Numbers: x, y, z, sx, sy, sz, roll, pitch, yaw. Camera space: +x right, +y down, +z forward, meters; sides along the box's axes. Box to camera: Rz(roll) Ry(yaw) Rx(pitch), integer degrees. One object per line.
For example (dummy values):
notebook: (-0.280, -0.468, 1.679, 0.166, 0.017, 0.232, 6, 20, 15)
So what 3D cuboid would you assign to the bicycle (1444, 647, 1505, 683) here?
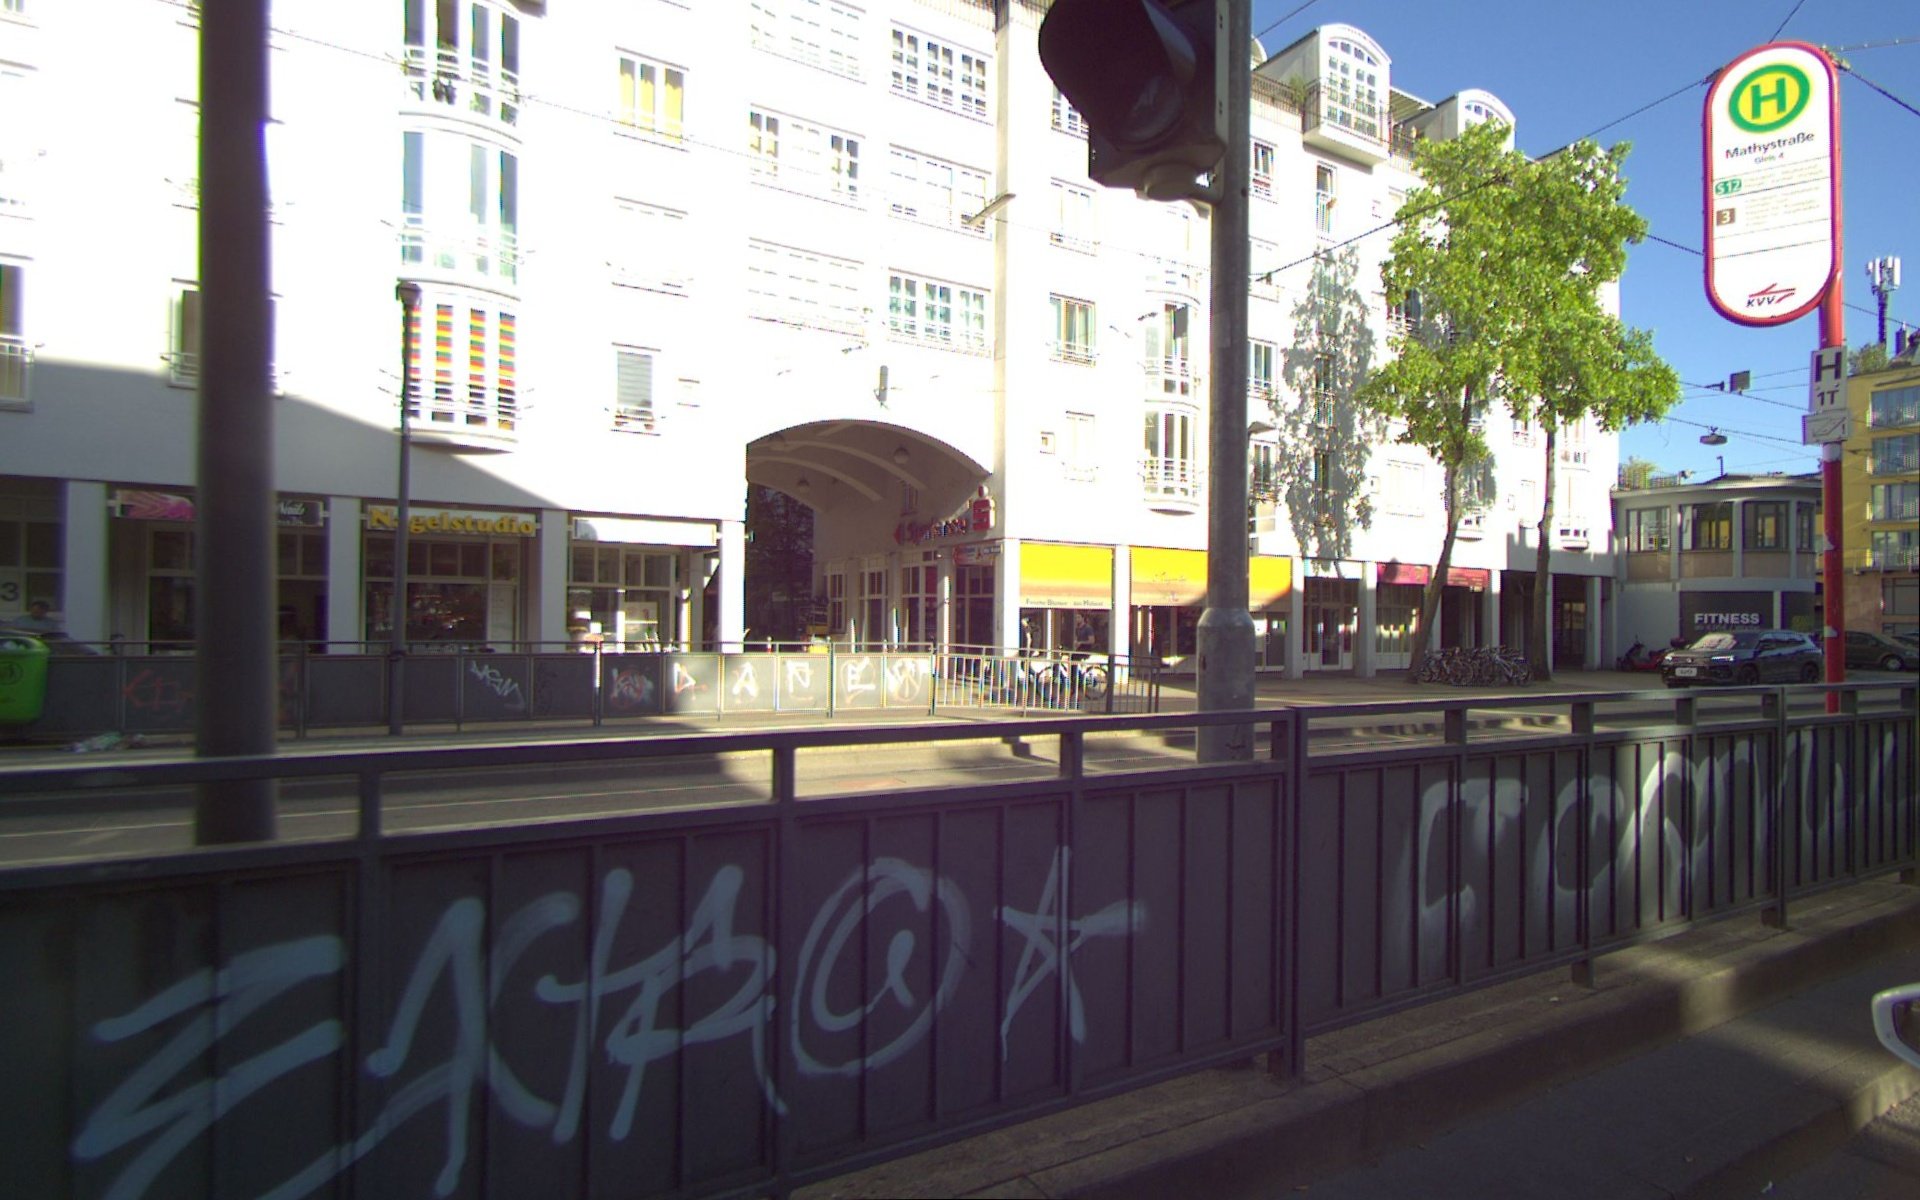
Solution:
bicycle: (14.264, 1.806, 27.841, 1.465, 0.953, 0.393, 0, -1, 6)

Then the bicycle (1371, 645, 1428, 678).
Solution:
bicycle: (12.876, 1.802, 29.441, 1.465, 0.953, 0.393, 0, -1, 6)

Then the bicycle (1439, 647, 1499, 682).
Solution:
bicycle: (14.307, 1.810, 28.275, 1.465, 0.953, 0.393, 0, -1, 6)

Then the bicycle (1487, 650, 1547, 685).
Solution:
bicycle: (15.867, 1.912, 28.610, 1.465, 0.953, 0.393, 0, -1, 6)

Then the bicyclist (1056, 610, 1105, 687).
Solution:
bicyclist: (2.529, 1.007, 21.040, 0.768, 1.578, 0.669, 1, -1, -29)

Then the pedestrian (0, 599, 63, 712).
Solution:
pedestrian: (-13.939, 0.818, 15.064, 0.591, 1.643, 0.837, 1, -1, -35)

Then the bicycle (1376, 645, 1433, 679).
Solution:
bicycle: (12.829, 1.790, 28.985, 1.465, 0.953, 0.393, 0, -1, 6)

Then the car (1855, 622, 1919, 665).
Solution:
car: (42.406, 1.919, 44.339, 1.937, 1.872, 3.964, 1, -1, -33)

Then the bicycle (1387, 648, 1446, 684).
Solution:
bicycle: (12.732, 1.833, 28.035, 1.465, 0.953, 0.393, 0, -1, 6)

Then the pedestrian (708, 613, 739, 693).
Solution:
pedestrian: (-5.052, 1.132, 21.457, 0.486, 1.686, 0.359, 2, 0, -29)

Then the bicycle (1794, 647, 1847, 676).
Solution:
bicycle: (32.748, 2.331, 38.214, 2.654, 1.015, 0.676, 1, -1, -30)

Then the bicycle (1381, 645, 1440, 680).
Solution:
bicycle: (12.789, 1.776, 28.531, 1.465, 0.953, 0.393, 0, -1, 6)

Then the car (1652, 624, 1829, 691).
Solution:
car: (20.483, 1.487, 26.323, 4.764, 1.636, 1.747, 1, -3, -26)

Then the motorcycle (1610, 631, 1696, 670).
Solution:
motorcycle: (24.986, 1.795, 36.261, 0.661, 1.305, 2.499, 1, -1, -32)

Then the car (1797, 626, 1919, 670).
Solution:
car: (37.995, 1.980, 42.218, 1.937, 1.697, 3.964, 1, -1, -33)

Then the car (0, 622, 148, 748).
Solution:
car: (-12.539, 0.986, 11.930, 4.231, 1.468, 1.744, 1, -1, -30)

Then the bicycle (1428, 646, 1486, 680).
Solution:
bicycle: (14.392, 1.823, 29.116, 1.465, 0.953, 0.393, 0, -1, 6)

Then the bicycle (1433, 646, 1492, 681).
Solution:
bicycle: (14.353, 1.808, 28.692, 1.465, 0.953, 0.393, 0, -1, 6)

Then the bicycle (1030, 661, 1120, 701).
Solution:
bicycle: (2.426, 1.678, 21.061, 1.914, 0.767, 0.564, 1, -1, -30)

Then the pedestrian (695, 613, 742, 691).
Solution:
pedestrian: (-5.169, 1.100, 21.521, 0.835, 1.643, 0.593, 1, -1, -30)

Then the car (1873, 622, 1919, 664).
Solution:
car: (44.662, 1.984, 45.967, 1.937, 1.872, 3.964, 1, -1, -33)

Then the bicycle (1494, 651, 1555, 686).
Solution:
bicycle: (15.813, 1.907, 28.151, 1.465, 0.953, 0.393, 0, -1, 6)
